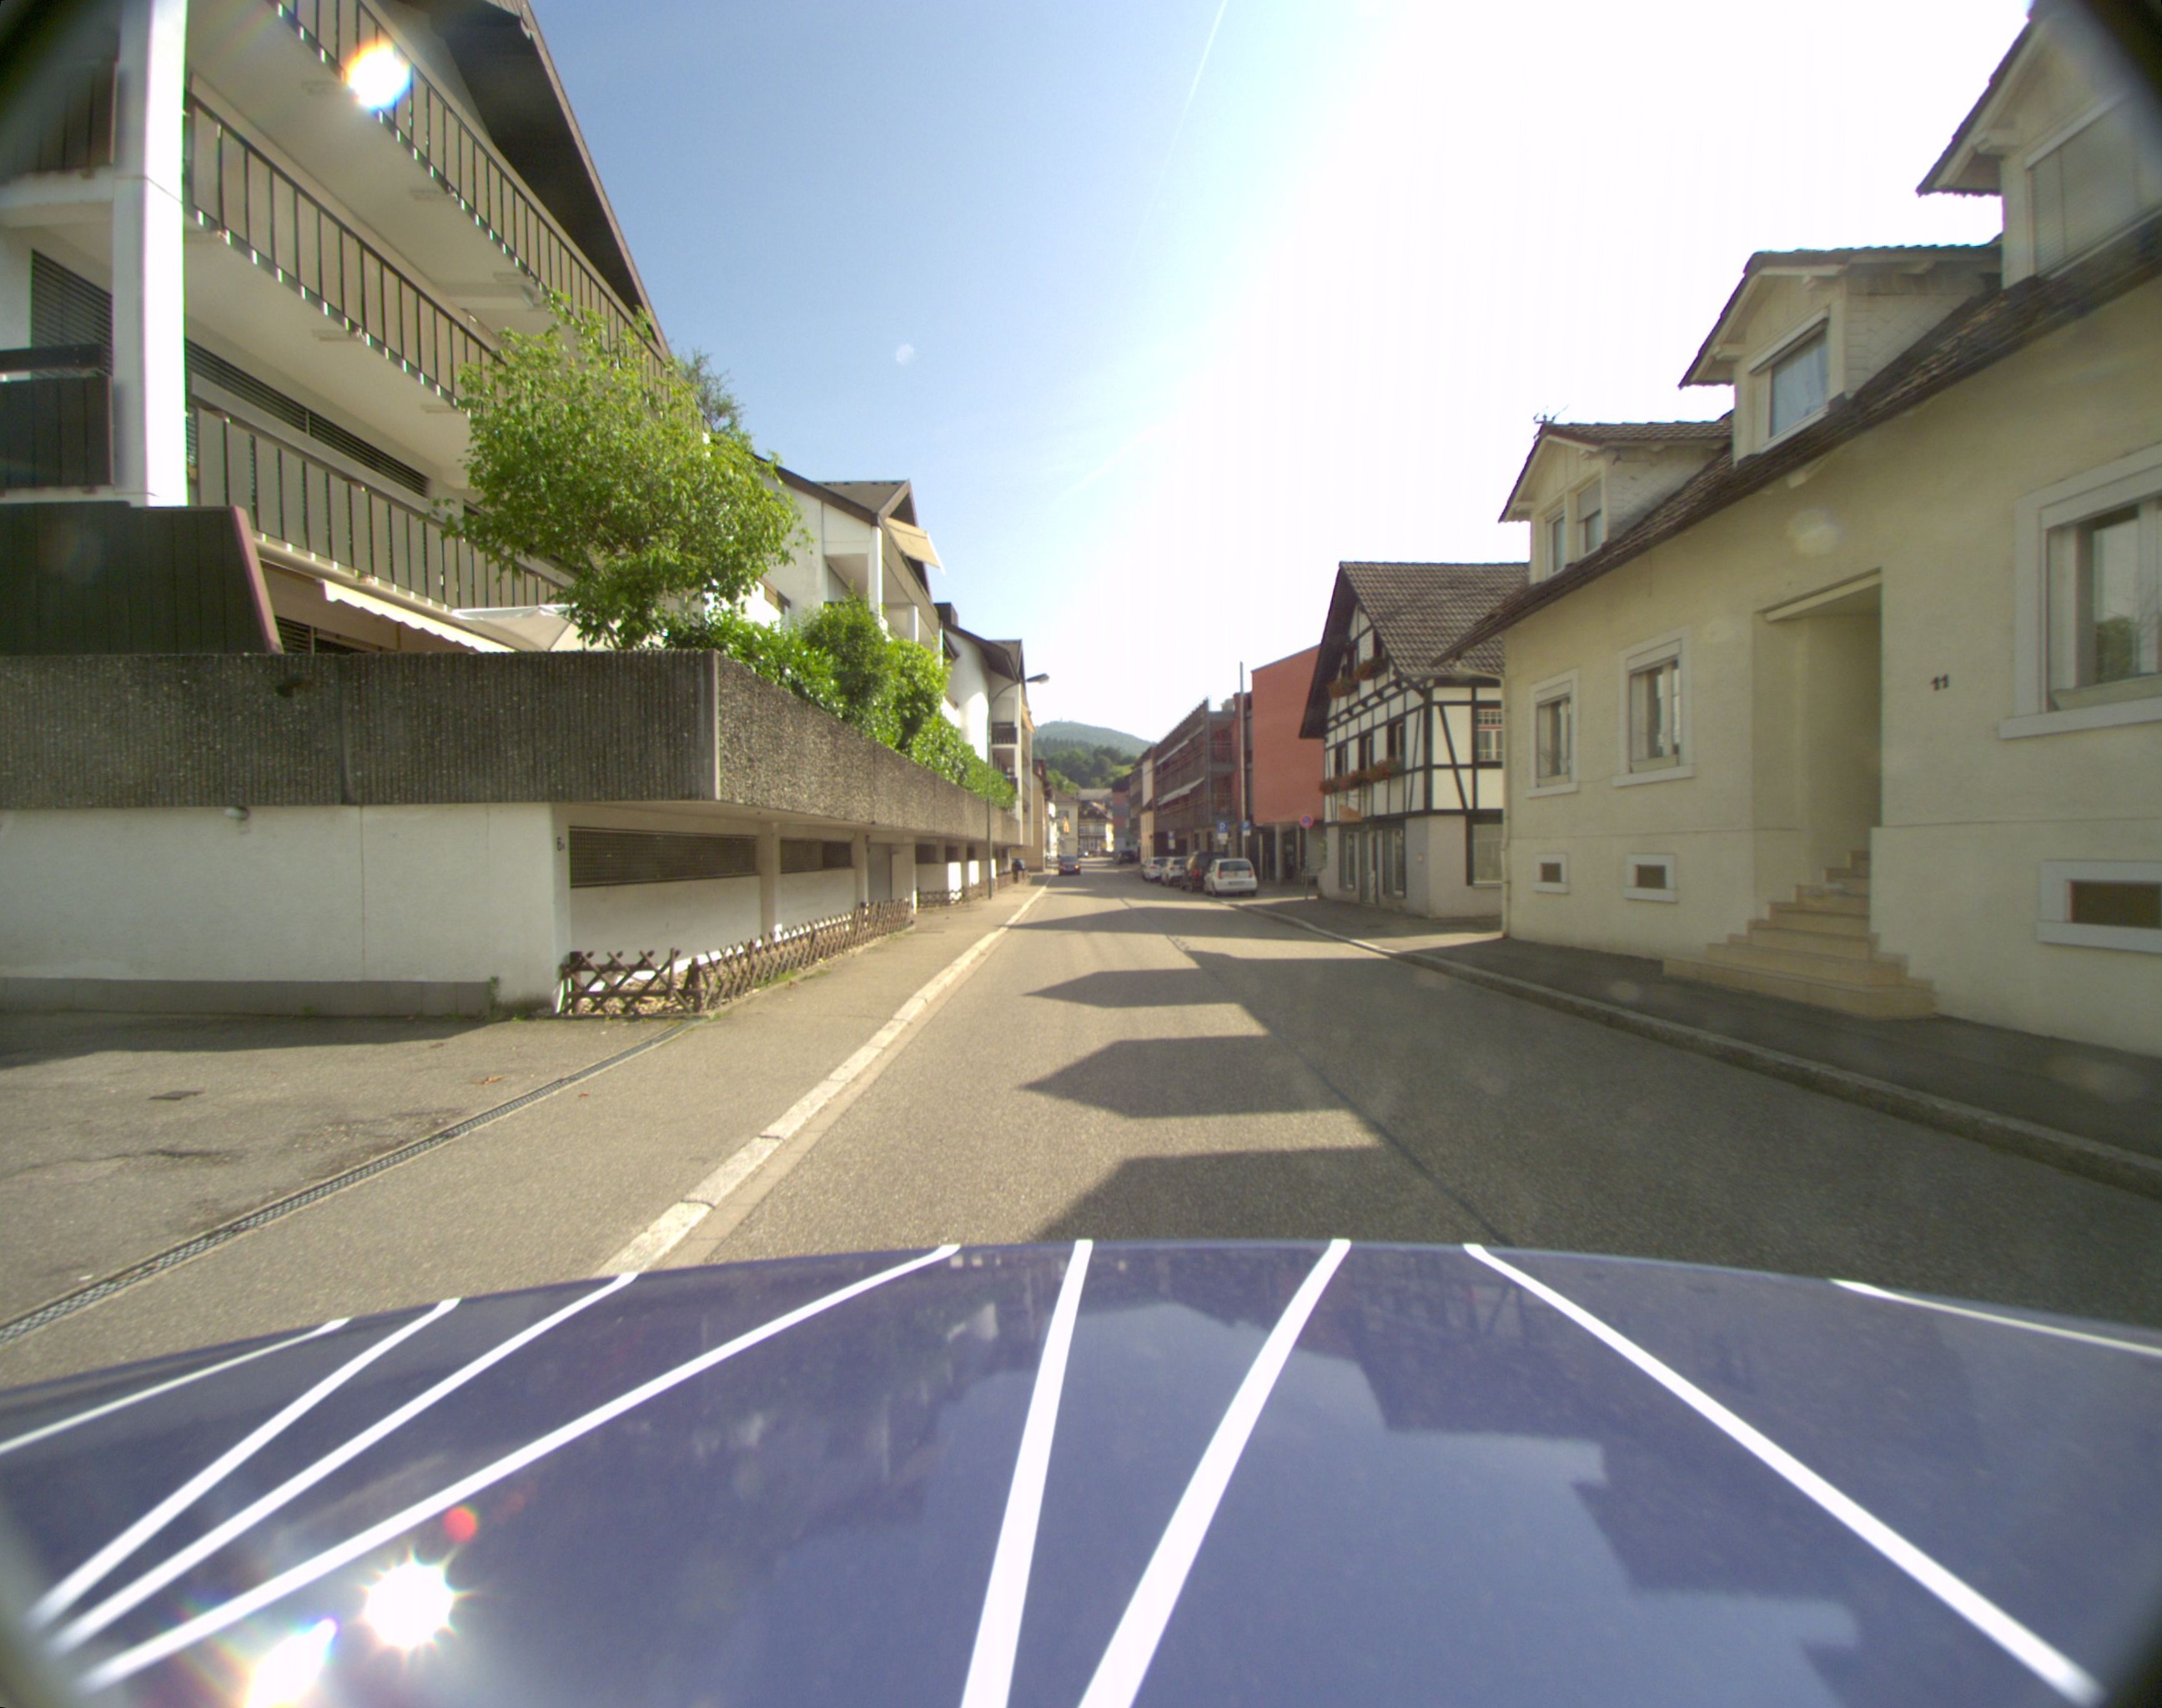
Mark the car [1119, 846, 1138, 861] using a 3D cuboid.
[{"bbox_3d":[5.535,-0.062,89.462,1.787,1.566,3.888,-4,0,-1],"label":"car"}]

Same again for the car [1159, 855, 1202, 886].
[{"bbox_3d":[5.358,0.855,41.344,1.679,1.580,3.948,-1,0,-2],"label":"car"}]

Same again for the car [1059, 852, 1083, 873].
[{"bbox_3d":[-0.831,0.665,61.123,1.822,1.652,3.999,0,0,-2],"label":"car"}]

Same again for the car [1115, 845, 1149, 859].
[{"bbox_3d":[6.593,-0.228,97.888,4.000,1.673,1.834,0,-1,-9],"label":"car"}]

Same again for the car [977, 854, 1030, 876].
[{"bbox_3d":[-5.844,0.855,57.577,3.837,1.470,1.700,-2,0,-3],"label":"car"}]

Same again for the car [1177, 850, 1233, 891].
[{"bbox_3d":[5.688,0.713,35.311,1.725,1.786,4.268,-1,0,-3],"label":"car"}]

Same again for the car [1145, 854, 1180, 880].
[{"bbox_3d":[5.079,0.791,47.925,1.678,1.546,3.764,-2,0,-2],"label":"car"}]

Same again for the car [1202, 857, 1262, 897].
[{"bbox_3d":[5.936,0.889,30.301,1.670,1.423,3.569,-2,-1,0],"label":"car"}]

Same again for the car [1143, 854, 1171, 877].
[{"bbox_3d":[5.215,0.789,52.713,1.553,1.408,3.593,-2,1,0],"label":"car"}]

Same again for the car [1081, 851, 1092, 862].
[{"bbox_3d":[1.013,0.466,143.989,1.999,2.002,3.998,-2,1,-2],"label":"car"}]
